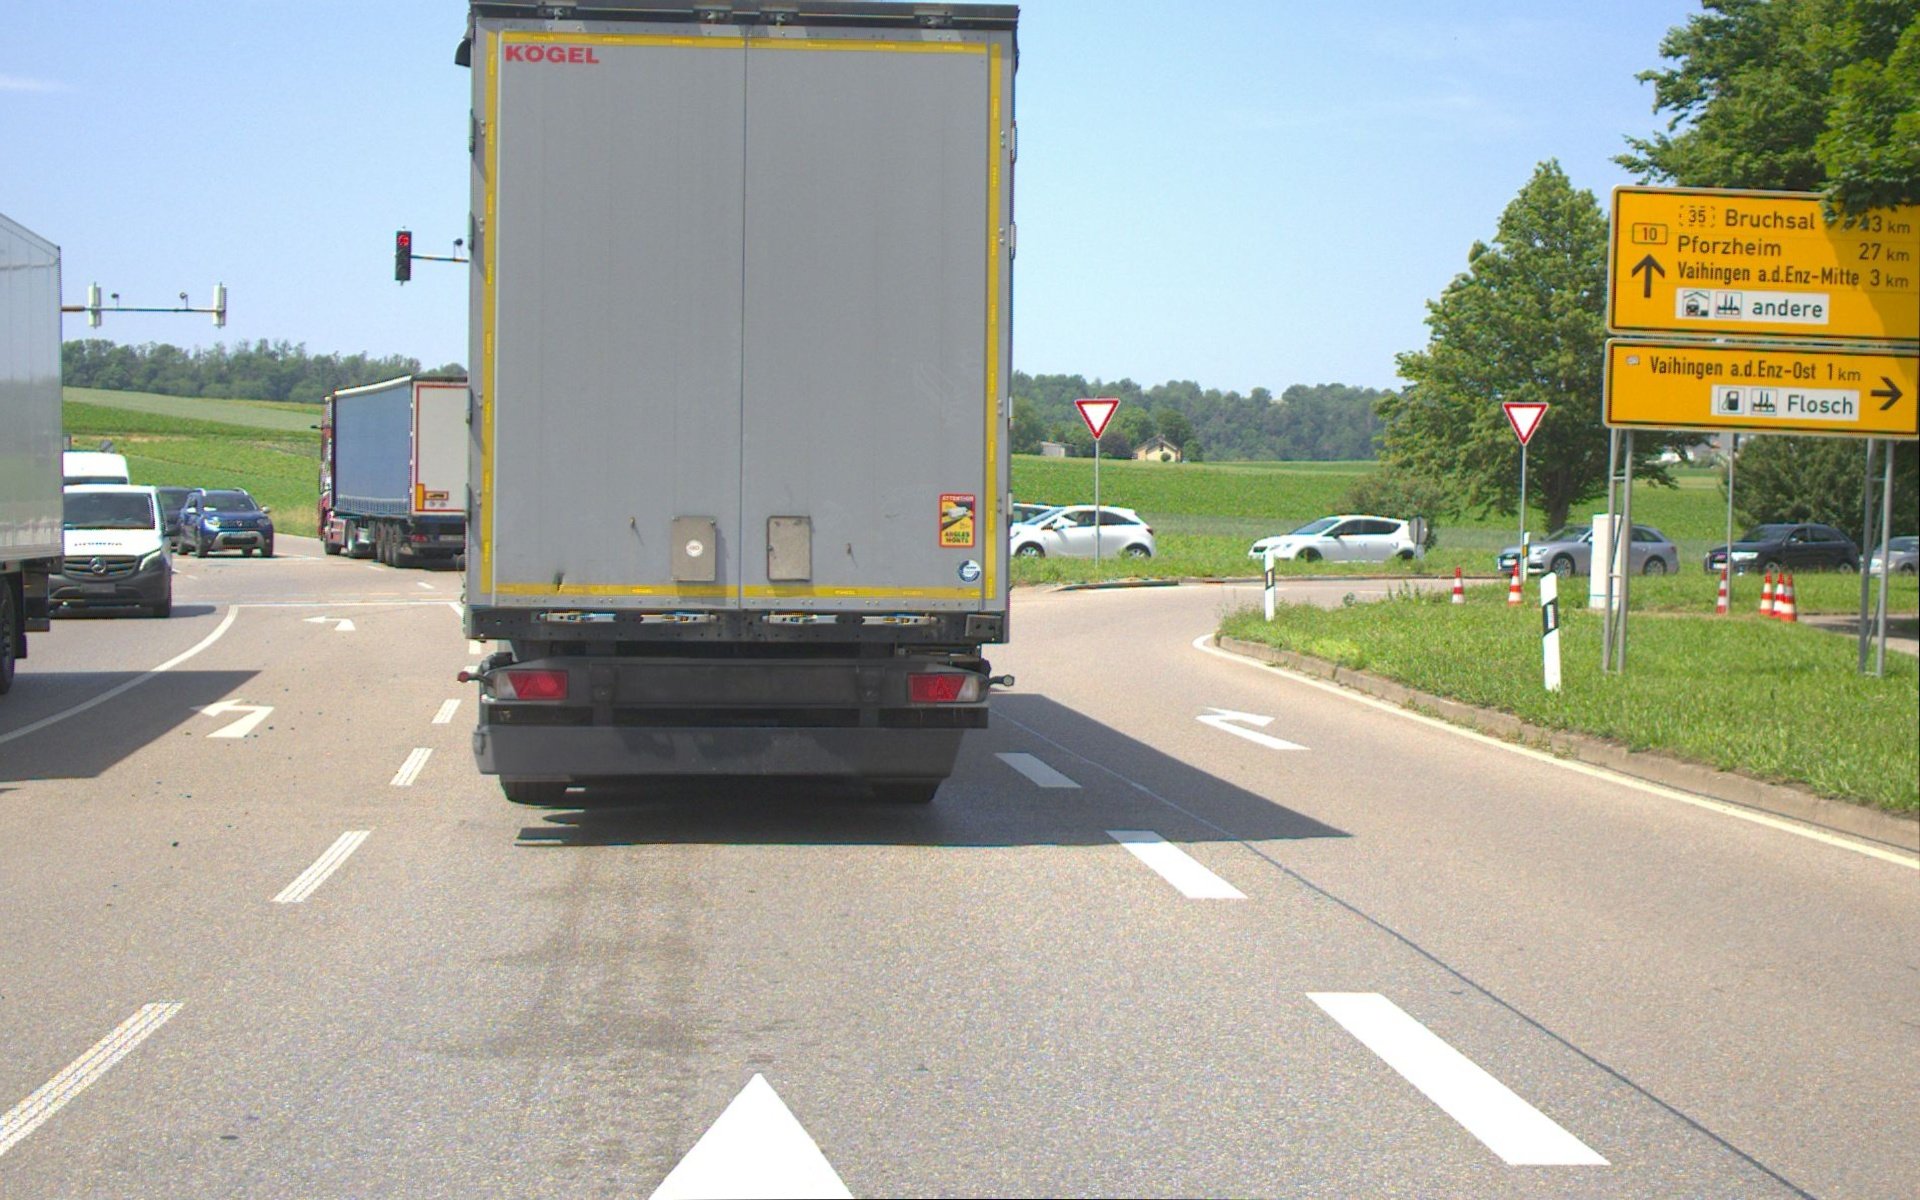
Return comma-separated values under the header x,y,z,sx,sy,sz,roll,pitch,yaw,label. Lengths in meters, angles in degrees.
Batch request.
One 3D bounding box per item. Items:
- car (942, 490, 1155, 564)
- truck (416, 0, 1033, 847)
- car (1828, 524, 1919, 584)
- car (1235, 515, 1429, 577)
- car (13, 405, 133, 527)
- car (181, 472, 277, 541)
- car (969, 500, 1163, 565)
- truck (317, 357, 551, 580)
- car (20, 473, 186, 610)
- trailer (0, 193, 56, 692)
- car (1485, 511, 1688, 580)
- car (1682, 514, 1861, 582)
x,y,z,sx,sy,sz,roll,pitch,yaw,label
2.073,-1.703,80.905,4.624,1.602,1.999,1,0,-12,car
-1.515,-0.964,20.620,2.807,3.932,9.593,0,2,-5,truck
24.748,-1.166,89.113,4.547,1.505,1.801,1,1,-35,car
8.602,-1.237,79.466,4.091,1.414,1.801,0,1,-24,car
-18.465,-2.781,71.414,2.050,2.443,5.270,-1,2,-18,car
-17.879,-2.304,83.977,1.770,1.652,4.001,-1,2,-20,car
2.359,-1.504,76.802,3.958,1.414,1.829,0,1,-15,car
-12.304,-2.873,78.752,2.960,4.568,16.321,-1,1,-17,truck
-12.221,-0.888,49.276,1.872,1.858,5.143,0,2,-9,car
-8.897,-1.208,25.500,2.777,4.087,11.664,-1,2,-8,trailer
14.917,-1.287,81.830,4.546,1.505,1.801,1,0,-26,car
20.036,-1.278,84.812,4.548,1.505,1.800,2,0,-38,car
